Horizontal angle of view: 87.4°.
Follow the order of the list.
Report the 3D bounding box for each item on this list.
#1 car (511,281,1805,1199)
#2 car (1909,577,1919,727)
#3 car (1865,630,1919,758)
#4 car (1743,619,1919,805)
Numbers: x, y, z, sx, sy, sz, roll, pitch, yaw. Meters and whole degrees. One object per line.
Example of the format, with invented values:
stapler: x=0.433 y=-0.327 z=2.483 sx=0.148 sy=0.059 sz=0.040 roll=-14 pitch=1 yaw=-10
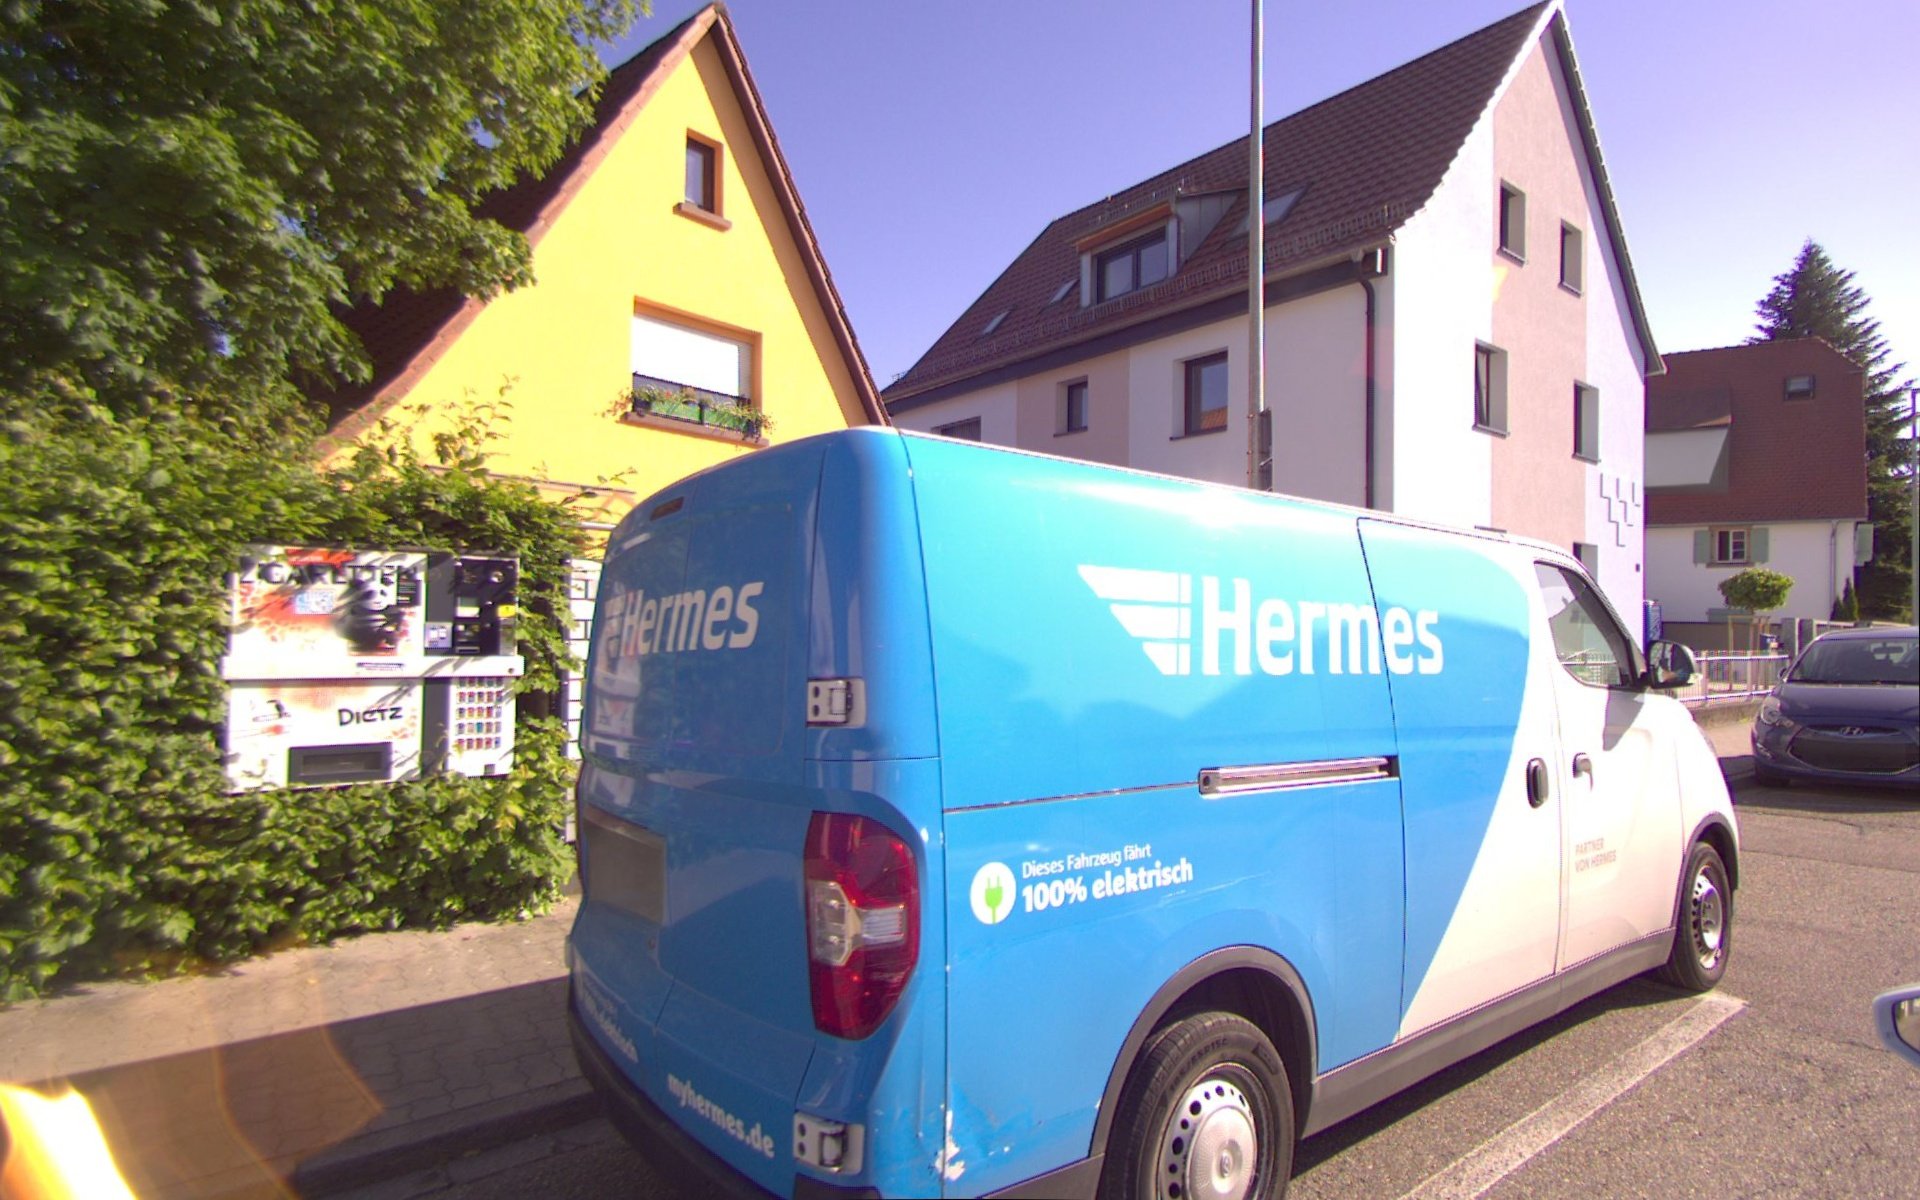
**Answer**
car: x=1.235 y=0.597 z=3.745 sx=5.024 sy=1.942 sz=1.888 roll=2 pitch=-3 yaw=-38
car: x=18.570 y=0.853 z=17.391 sx=6.010 sy=2.421 sz=2.181 roll=1 pitch=-3 yaw=-38
car: x=13.329 y=1.153 z=12.993 sx=4.197 sy=1.524 sz=1.699 roll=1 pitch=-3 yaw=-38
car: x=9.676 y=1.028 z=10.288 sx=3.890 sy=1.619 sz=1.702 roll=1 pitch=-3 yaw=-38
